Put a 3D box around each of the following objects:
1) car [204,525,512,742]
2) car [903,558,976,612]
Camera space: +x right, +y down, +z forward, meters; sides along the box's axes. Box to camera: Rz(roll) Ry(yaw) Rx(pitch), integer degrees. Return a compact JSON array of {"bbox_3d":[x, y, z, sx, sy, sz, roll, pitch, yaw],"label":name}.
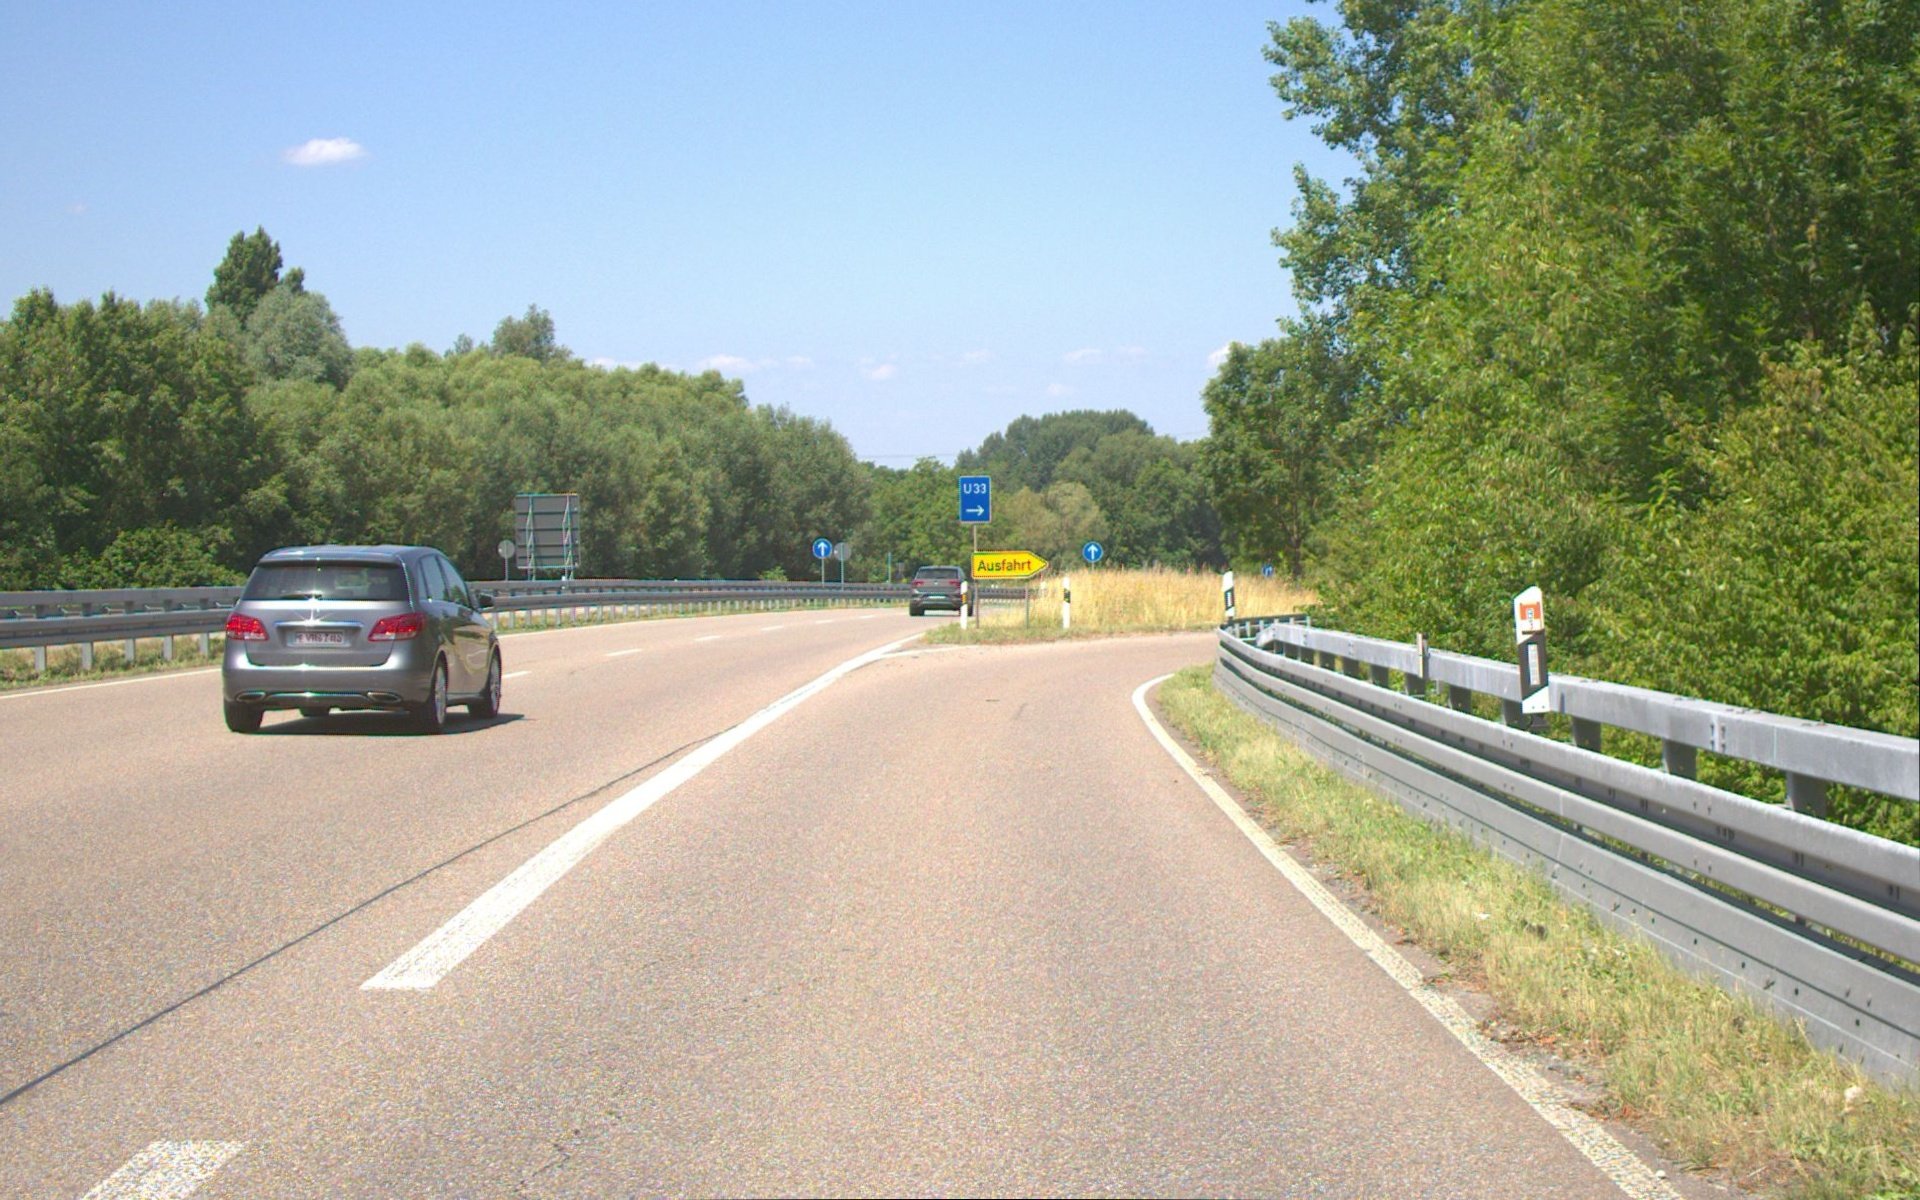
[{"bbox_3d":[-5.122,0.219,29.810,1.793,1.662,4.555,1,2,1],"label":"car"},{"bbox_3d":[-0.626,-0.480,107.327,1.841,1.524,4.469,1,2,5],"label":"car"}]
